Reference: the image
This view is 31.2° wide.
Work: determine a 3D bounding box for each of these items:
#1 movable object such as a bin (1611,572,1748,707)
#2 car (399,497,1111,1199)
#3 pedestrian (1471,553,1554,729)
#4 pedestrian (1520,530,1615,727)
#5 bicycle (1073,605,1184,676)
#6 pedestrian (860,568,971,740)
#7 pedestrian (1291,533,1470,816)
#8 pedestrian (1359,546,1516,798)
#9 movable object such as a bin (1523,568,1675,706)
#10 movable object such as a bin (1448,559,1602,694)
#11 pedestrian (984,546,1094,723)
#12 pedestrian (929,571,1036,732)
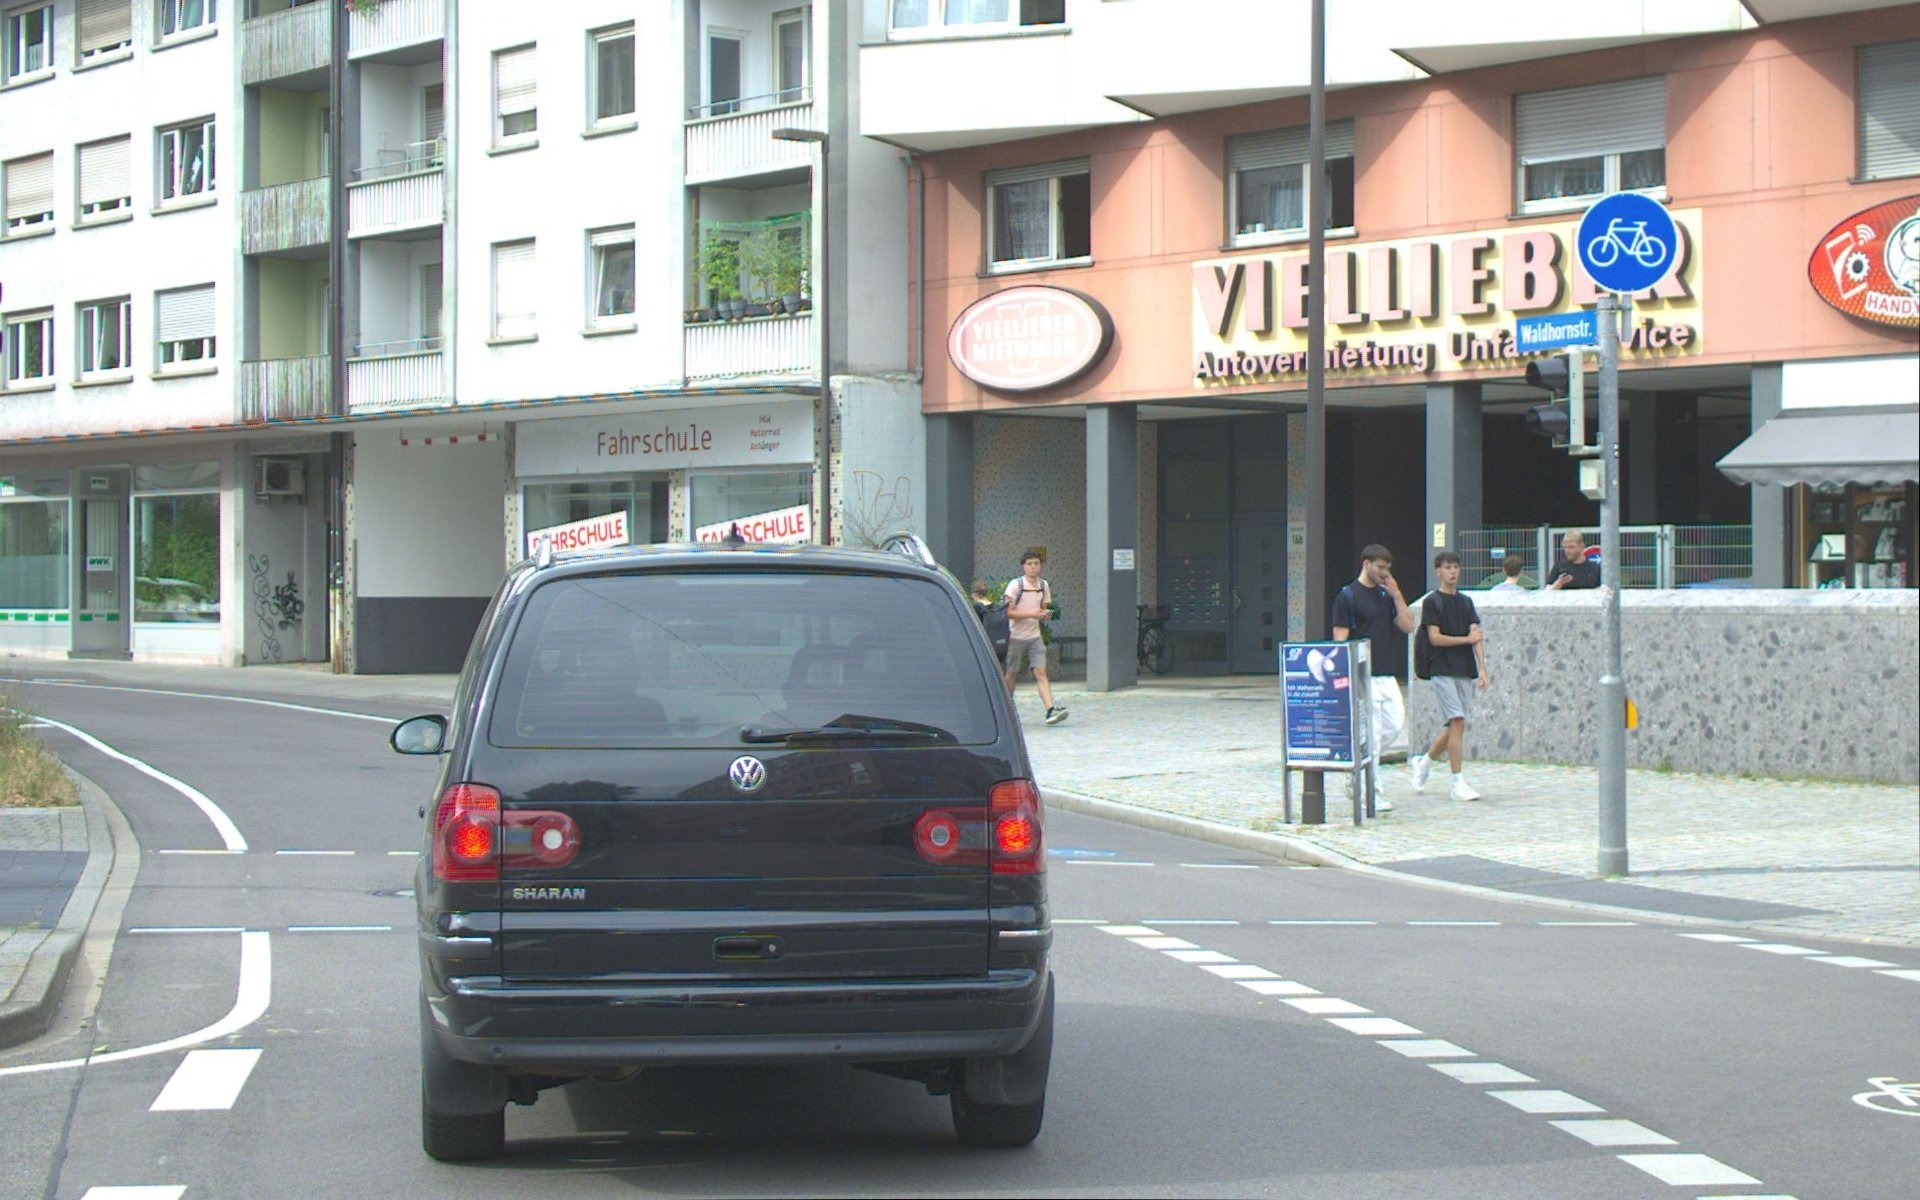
[{"bbox_3d":[8.250,0.439,39.419,1.002,1.510,1.167,0,0,-41],"label":"movable object such as a bin"},{"bbox_3d":[-0.781,0.613,10.603,1.812,1.760,3.739,0,0,-8],"label":"car"},{"bbox_3d":[5.346,0.388,33.275,0.472,1.667,0.590,-3,3,-39],"label":"pedestrian"},{"bbox_3d":[5.972,0.270,33.803,0.672,1.896,0.590,-3,3,-39],"label":"pedestrian"},{"bbox_3d":[2.239,0.527,45.836,0.452,0.893,1.678,0,1,-40],"label":"bicycle"},{"bbox_3d":[-0.471,0.556,36.220,0.751,1.744,0.859,-4,3,-32],"label":"pedestrian"},{"bbox_3d":[3.018,0.511,24.668,1.013,1.964,0.719,1,3,45],"label":"pedestrian"},{"bbox_3d":[3.515,0.513,25.308,0.886,1.793,0.675,1,3,45],"label":"pedestrian"},{"bbox_3d":[7.198,0.404,38.757,1.194,1.510,1.197,0,1,-41],"label":"movable object such as a bin"},{"bbox_3d":[6.240,0.278,37.985,1.146,1.455,1.223,0,1,-41],"label":"movable object such as a bin"},{"bbox_3d":[0.847,0.360,36.991,0.656,1.846,0.971,-3,2,-36],"label":"pedestrian"},{"bbox_3d":[0.234,0.541,36.653,0.604,1.663,0.943,-4,3,-41],"label":"pedestrian"}]
